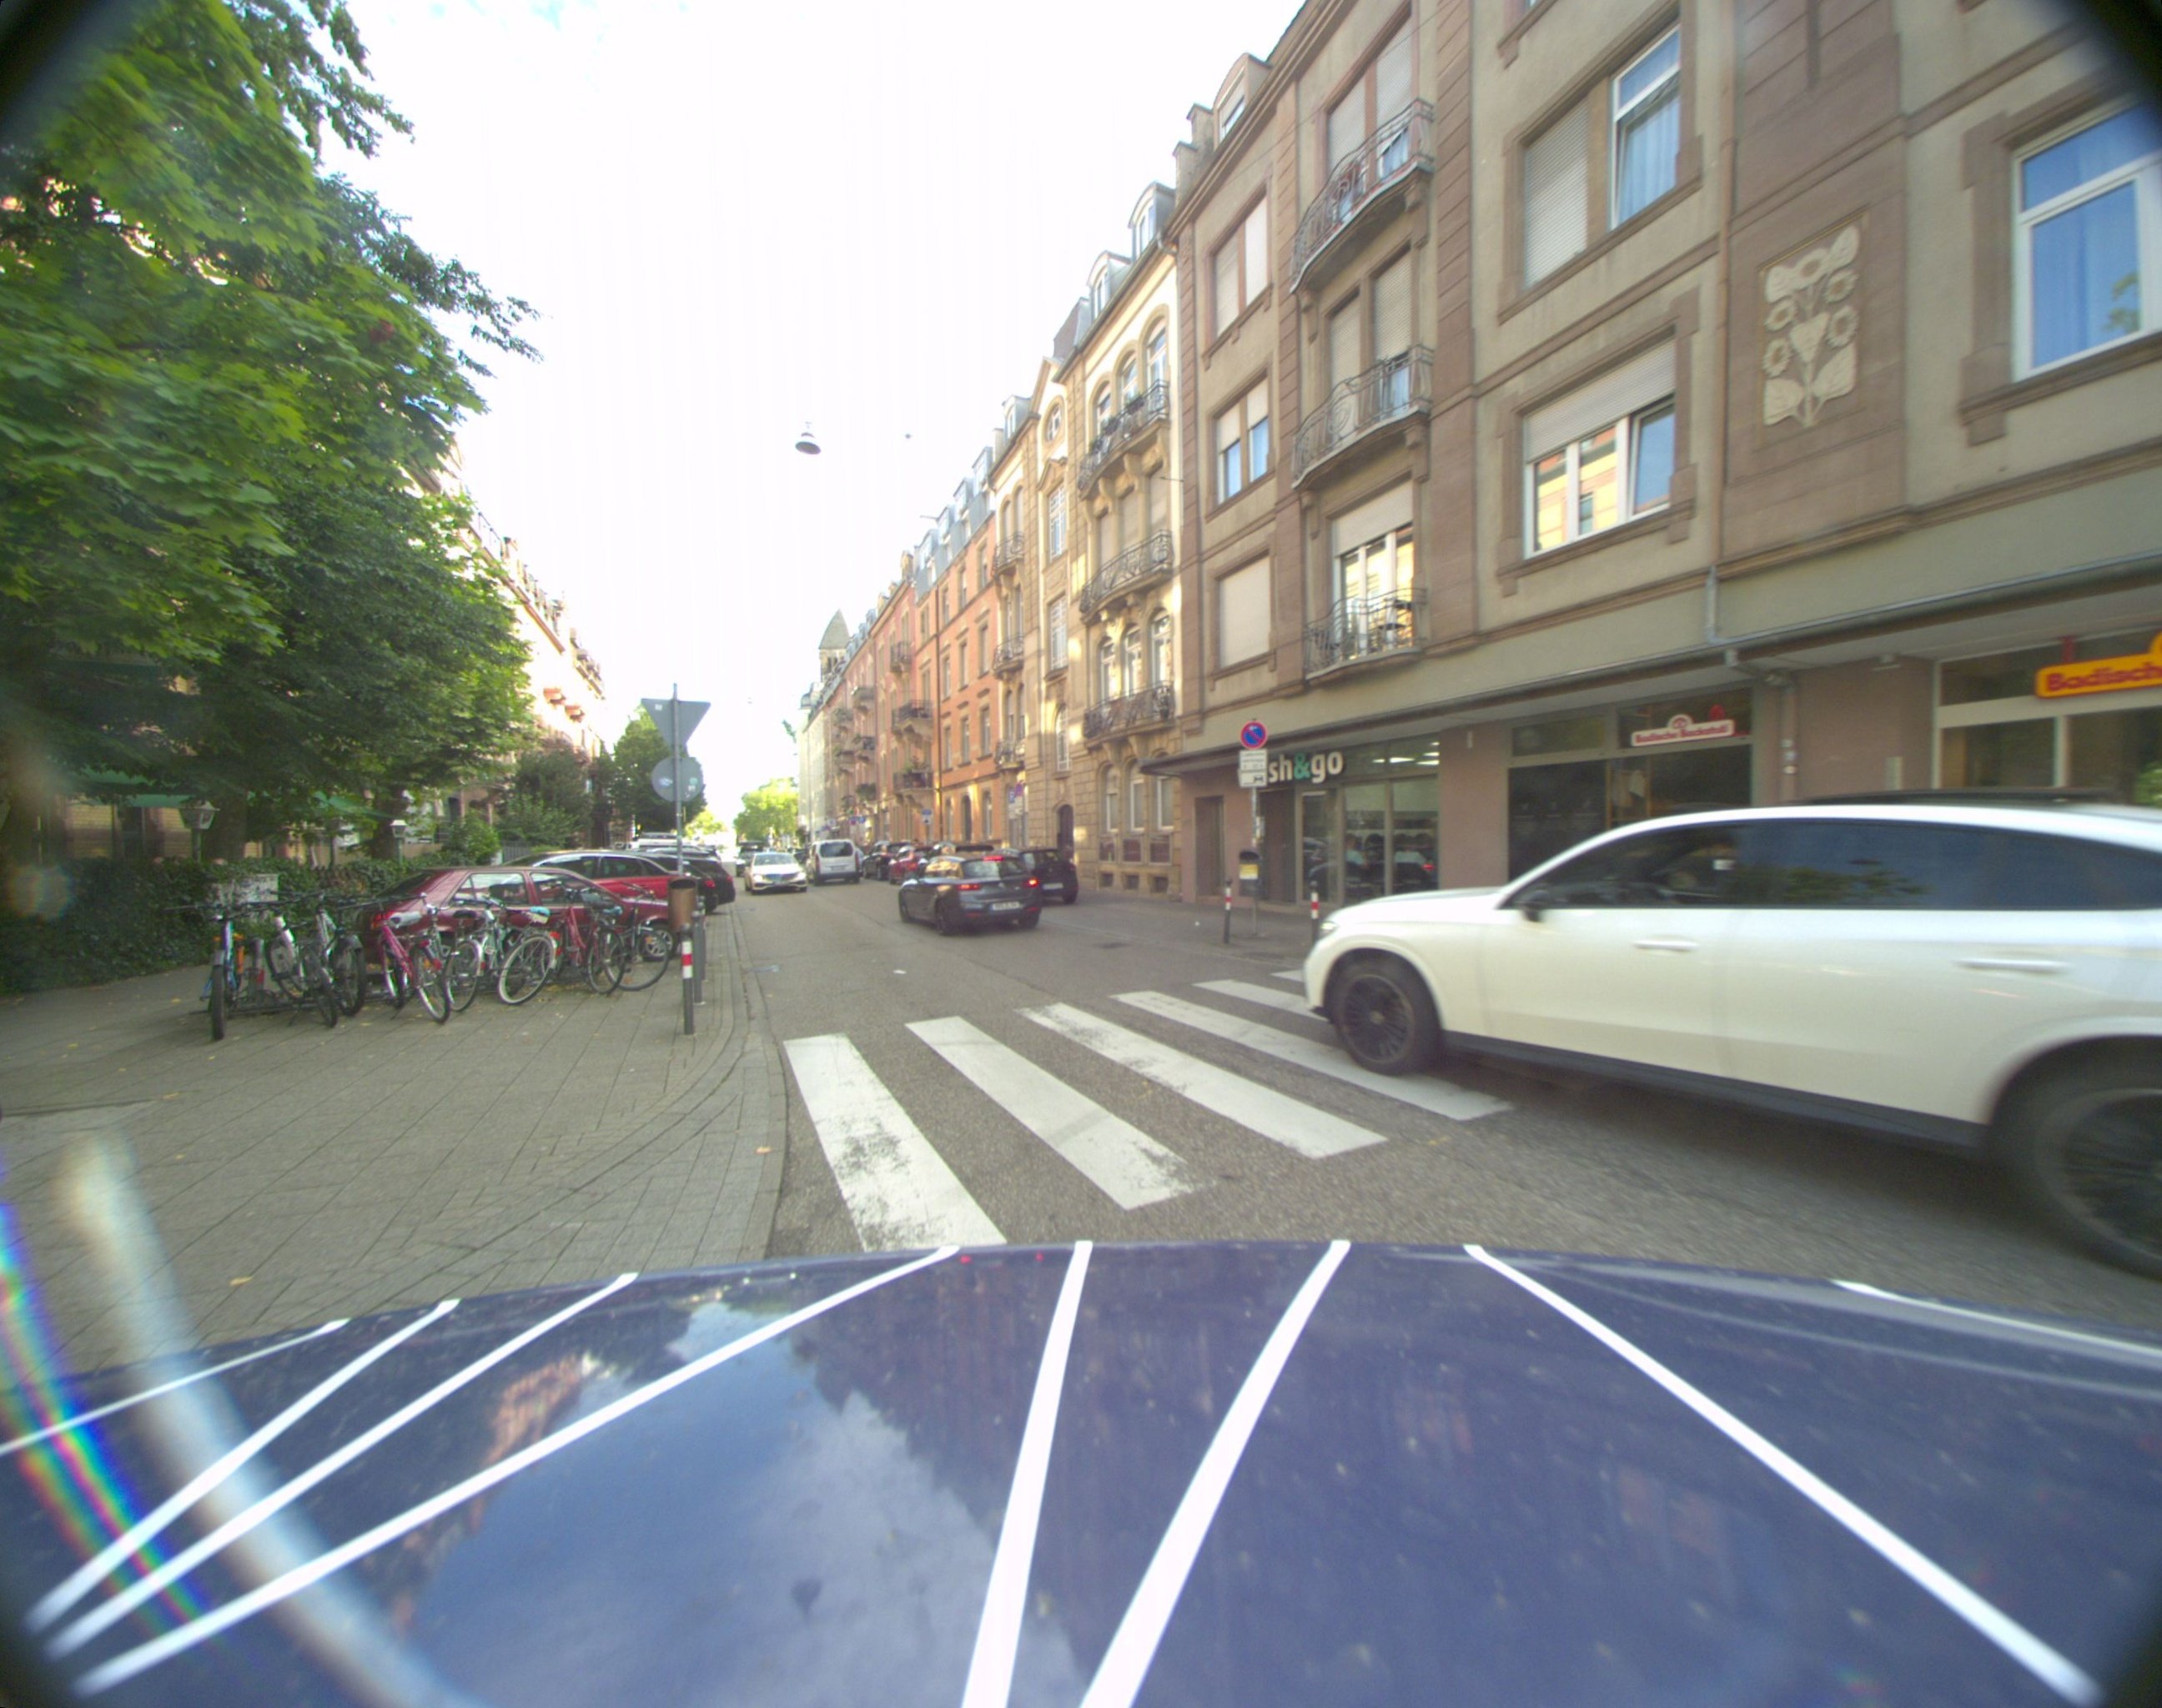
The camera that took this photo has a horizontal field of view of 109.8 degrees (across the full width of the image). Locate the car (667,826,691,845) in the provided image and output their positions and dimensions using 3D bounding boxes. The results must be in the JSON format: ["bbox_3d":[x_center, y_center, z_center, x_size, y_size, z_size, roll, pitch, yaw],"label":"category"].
[{"bbox_3d":[-39.851,-1.824,75.236,1.853,1.725,3.990,-3,2,-30],"label":"car"}]

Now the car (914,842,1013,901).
[{"bbox_3d":[-3.757,0.444,23.611,1.865,1.576,4.388,-3,2,-25],"label":"car"}]

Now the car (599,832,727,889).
[{"bbox_3d":[-19.496,0.243,35.661,1.994,2.409,4.747,-1,2,33],"label":"car"}]

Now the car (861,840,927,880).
[{"bbox_3d":[-8.364,0.216,33.767,1.765,1.589,4.331,-3,2,-28],"label":"car"}]

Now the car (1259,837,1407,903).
[{"bbox_3d":[7.329,0.399,22.041,4.006,1.612,1.995,-3,2,-34],"label":"car"}]

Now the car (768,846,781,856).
[{"bbox_3d":[-45.042,-0.474,111.642,1.628,1.371,3.753,-2,1,-24],"label":"car"}]

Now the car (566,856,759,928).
[{"bbox_3d":[-9.551,0.807,17.531,1.509,1.456,3.596,1,0,42],"label":"car"}]

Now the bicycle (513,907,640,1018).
[{"bbox_3d":[-5.537,1.130,8.290,1.859,0.979,0.473,1,1,34],"label":"bicycle"}]

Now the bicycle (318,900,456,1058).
[{"bbox_3d":[-6.162,1.034,6.711,1.833,1.136,0.476,1,1,34],"label":"bicycle"}]

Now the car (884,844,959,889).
[{"bbox_3d":[-6.098,0.419,28.671,1.765,1.488,4.124,-3,2,-26],"label":"car"}]

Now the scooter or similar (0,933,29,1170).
[{"bbox_3d":[-6.166,1.020,3.666,1.292,1.203,0.556,-1,0,-5],"label":"scooter or similar"}]

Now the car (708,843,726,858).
[{"bbox_3d":[-42.707,-0.423,89.252,1.766,1.598,3.665,-2,1,-25],"label":"car"}]

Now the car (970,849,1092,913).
[{"bbox_3d":[-1.359,0.591,19.031,1.727,1.361,3.821,-3,2,-25],"label":"car"}]

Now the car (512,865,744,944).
[{"bbox_3d":[-8.699,0.895,14.812,1.509,1.315,3.596,1,0,42],"label":"car"}]

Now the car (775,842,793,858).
[{"bbox_3d":[-36.131,-0.473,92.379,1.730,1.922,4.003,-2,1,-24],"label":"car"}]

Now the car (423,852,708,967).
[{"bbox_3d":[-8.293,0.796,12.457,1.509,1.606,3.596,1,0,42],"label":"car"}]

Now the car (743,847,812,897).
[{"bbox_3d":[-11.317,0.590,28.161,1.947,1.588,4.825,-3,2,-26],"label":"car"}]

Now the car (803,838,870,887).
[{"bbox_3d":[-10.476,0.305,32.302,1.947,1.869,4.825,-3,2,-26],"label":"car"}]

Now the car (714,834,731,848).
[{"bbox_3d":[-51.467,-1.844,109.070,2.002,1.878,3.992,-3,2,-23],"label":"car"}]

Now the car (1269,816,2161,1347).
[{"bbox_3d":[3.498,0.672,3.795,2.003,1.625,4.831,-2,1,-34],"label":"car"}]

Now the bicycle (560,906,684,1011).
[{"bbox_3d":[-5.269,1.143,8.678,1.859,0.979,0.473,1,1,34],"label":"bicycle"}]

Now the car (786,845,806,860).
[{"bbox_3d":[-29.483,-0.168,78.612,1.628,1.371,3.753,-2,1,-24],"label":"car"}]

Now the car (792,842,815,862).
[{"bbox_3d":[-25.432,-0.194,69.572,1.687,1.775,4.011,-2,1,-24],"label":"car"}]

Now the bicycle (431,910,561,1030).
[{"bbox_3d":[-5.980,1.128,7.730,1.859,0.979,0.473,1,1,34],"label":"bicycle"}]

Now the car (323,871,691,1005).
[{"bbox_3d":[-7.318,0.936,9.974,1.509,1.372,3.596,1,0,40],"label":"car"}]

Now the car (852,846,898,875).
[{"bbox_3d":[-10.441,0.295,38.339,1.628,1.371,3.753,-3,2,-25],"label":"car"}]

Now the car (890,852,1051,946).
[{"bbox_3d":[-2.305,0.718,14.634,1.772,1.374,4.441,-4,3,-25],"label":"car"}]

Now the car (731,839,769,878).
[{"bbox_3d":[-18.554,0.209,42.697,1.796,2.051,3.992,-2,1,-22],"label":"car"}]

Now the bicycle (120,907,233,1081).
[{"bbox_3d":[-7.179,1.037,6.078,1.670,1.094,0.435,1,1,45],"label":"bicycle"}]

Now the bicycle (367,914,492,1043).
[{"bbox_3d":[-6.195,1.120,7.195,1.833,0.979,0.419,1,1,34],"label":"bicycle"}]

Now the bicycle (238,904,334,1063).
[{"bbox_3d":[-6.851,1.038,6.527,1.670,1.094,0.476,1,1,40],"label":"bicycle"}]

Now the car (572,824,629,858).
[{"bbox_3d":[-27.410,-0.717,43.510,1.737,1.792,3.993,-3,2,-18],"label":"car"}]

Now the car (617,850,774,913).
[{"bbox_3d":[-10.645,0.706,21.162,1.509,1.603,3.596,1,0,42],"label":"car"}]
